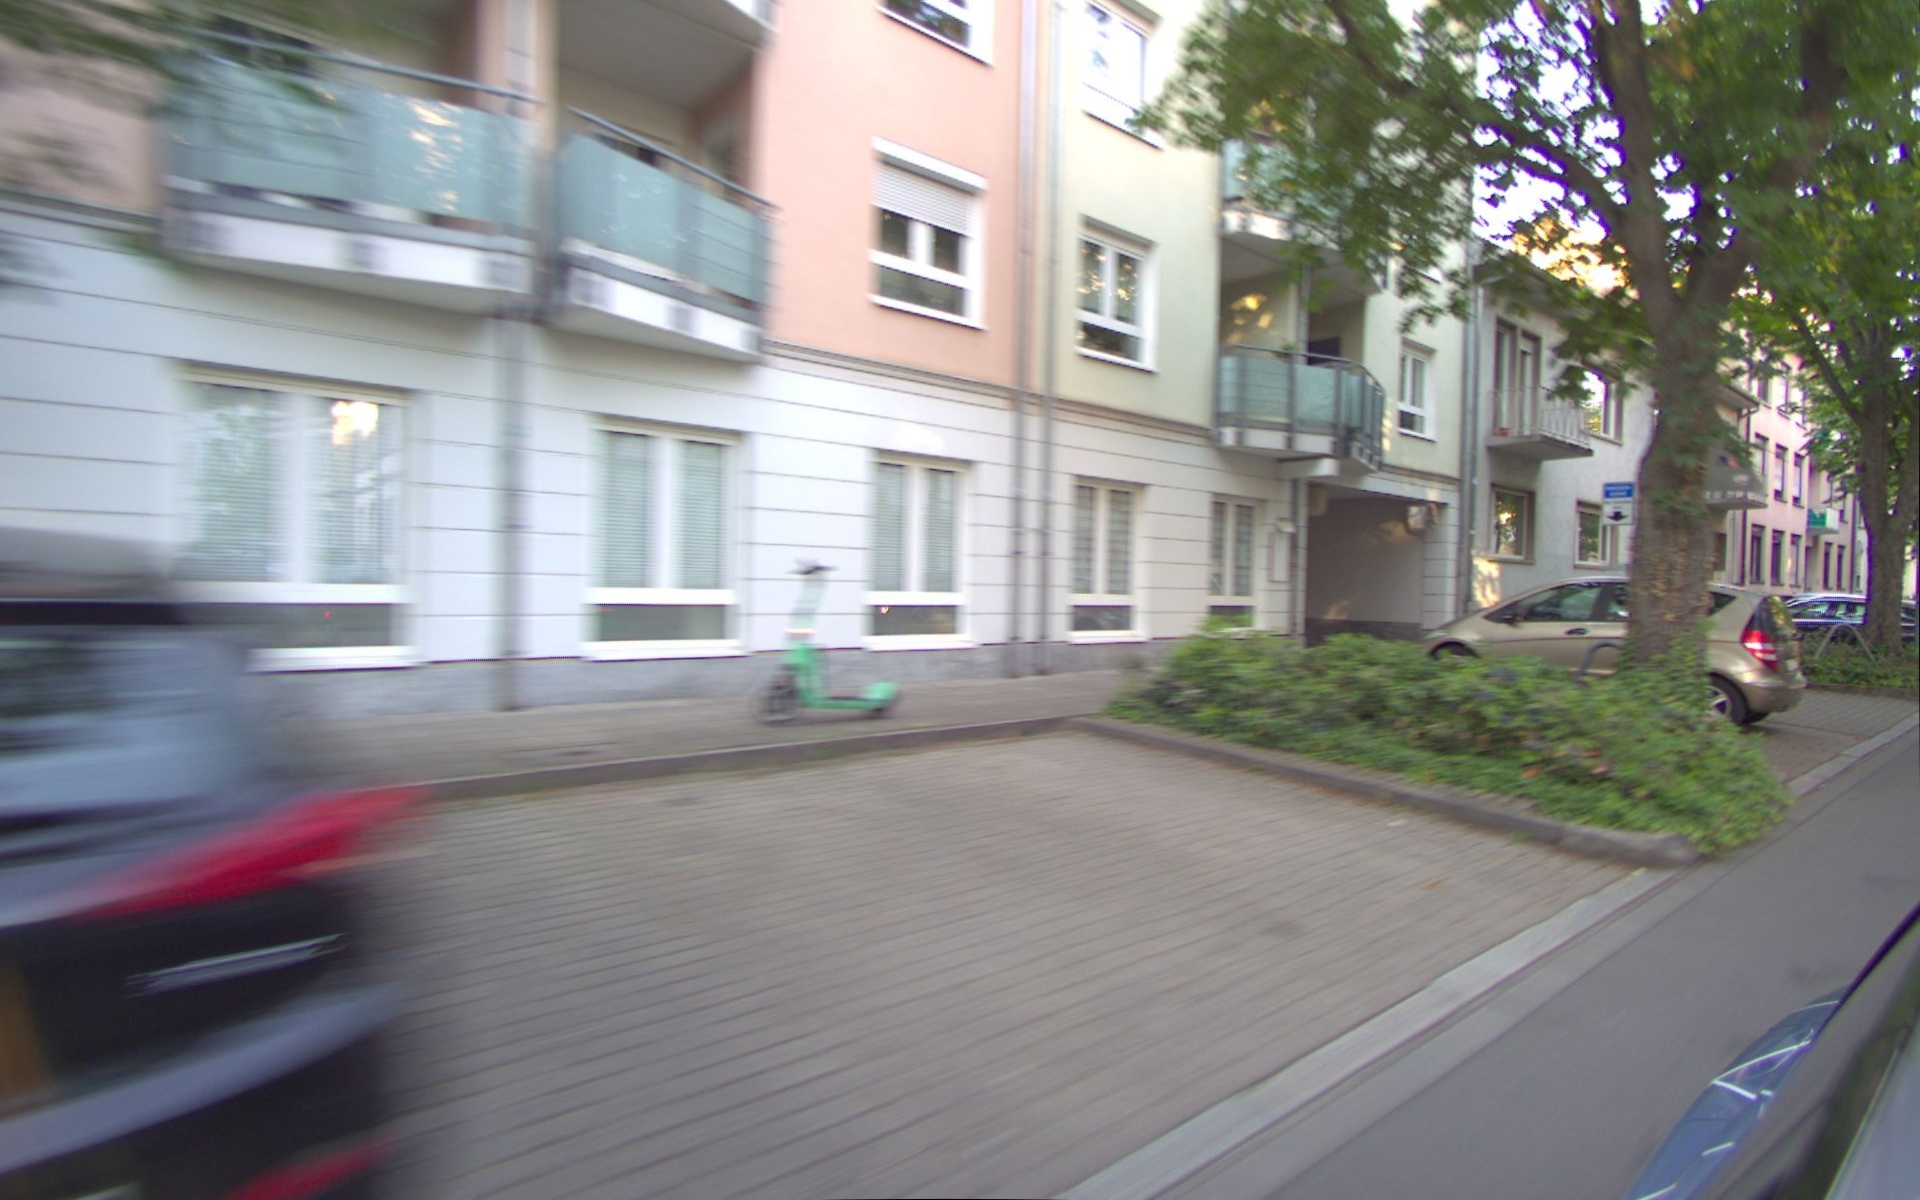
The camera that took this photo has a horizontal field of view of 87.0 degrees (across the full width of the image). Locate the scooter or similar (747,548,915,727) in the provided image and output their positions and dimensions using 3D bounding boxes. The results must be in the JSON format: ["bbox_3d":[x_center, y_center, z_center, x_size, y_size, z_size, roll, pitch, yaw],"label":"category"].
[{"bbox_3d":[-0.952,0.256,7.641,1.231,1.256,0.400,0,1,-41],"label":"scooter or similar"}]

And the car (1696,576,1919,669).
[{"bbox_3d":[17.474,0.415,19.974,1.698,1.487,4.375,1,4,-35],"label":"car"}]

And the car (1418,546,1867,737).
[{"bbox_3d":[7.692,0.314,11.704,1.892,1.687,3.872,0,4,-40],"label":"car"}]

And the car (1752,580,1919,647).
[{"bbox_3d":[23.772,0.332,26.484,1.916,1.542,4.458,0,2,-39],"label":"car"}]

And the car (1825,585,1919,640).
[{"bbox_3d":[28.809,0.429,29.940,1.665,1.488,4.597,0,4,-38],"label":"car"}]

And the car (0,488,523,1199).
[{"bbox_3d":[-2.843,0.467,2.582,1.882,1.492,3.993,0,5,-44],"label":"car"}]

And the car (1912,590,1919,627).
[{"bbox_3d":[39.177,0.441,38.745,1.647,1.415,3.854,0,3,-43],"label":"car"}]

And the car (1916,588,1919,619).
[{"bbox_3d":[44.836,0.282,44.462,1.644,1.415,3.862,1,3,-36],"label":"car"}]
